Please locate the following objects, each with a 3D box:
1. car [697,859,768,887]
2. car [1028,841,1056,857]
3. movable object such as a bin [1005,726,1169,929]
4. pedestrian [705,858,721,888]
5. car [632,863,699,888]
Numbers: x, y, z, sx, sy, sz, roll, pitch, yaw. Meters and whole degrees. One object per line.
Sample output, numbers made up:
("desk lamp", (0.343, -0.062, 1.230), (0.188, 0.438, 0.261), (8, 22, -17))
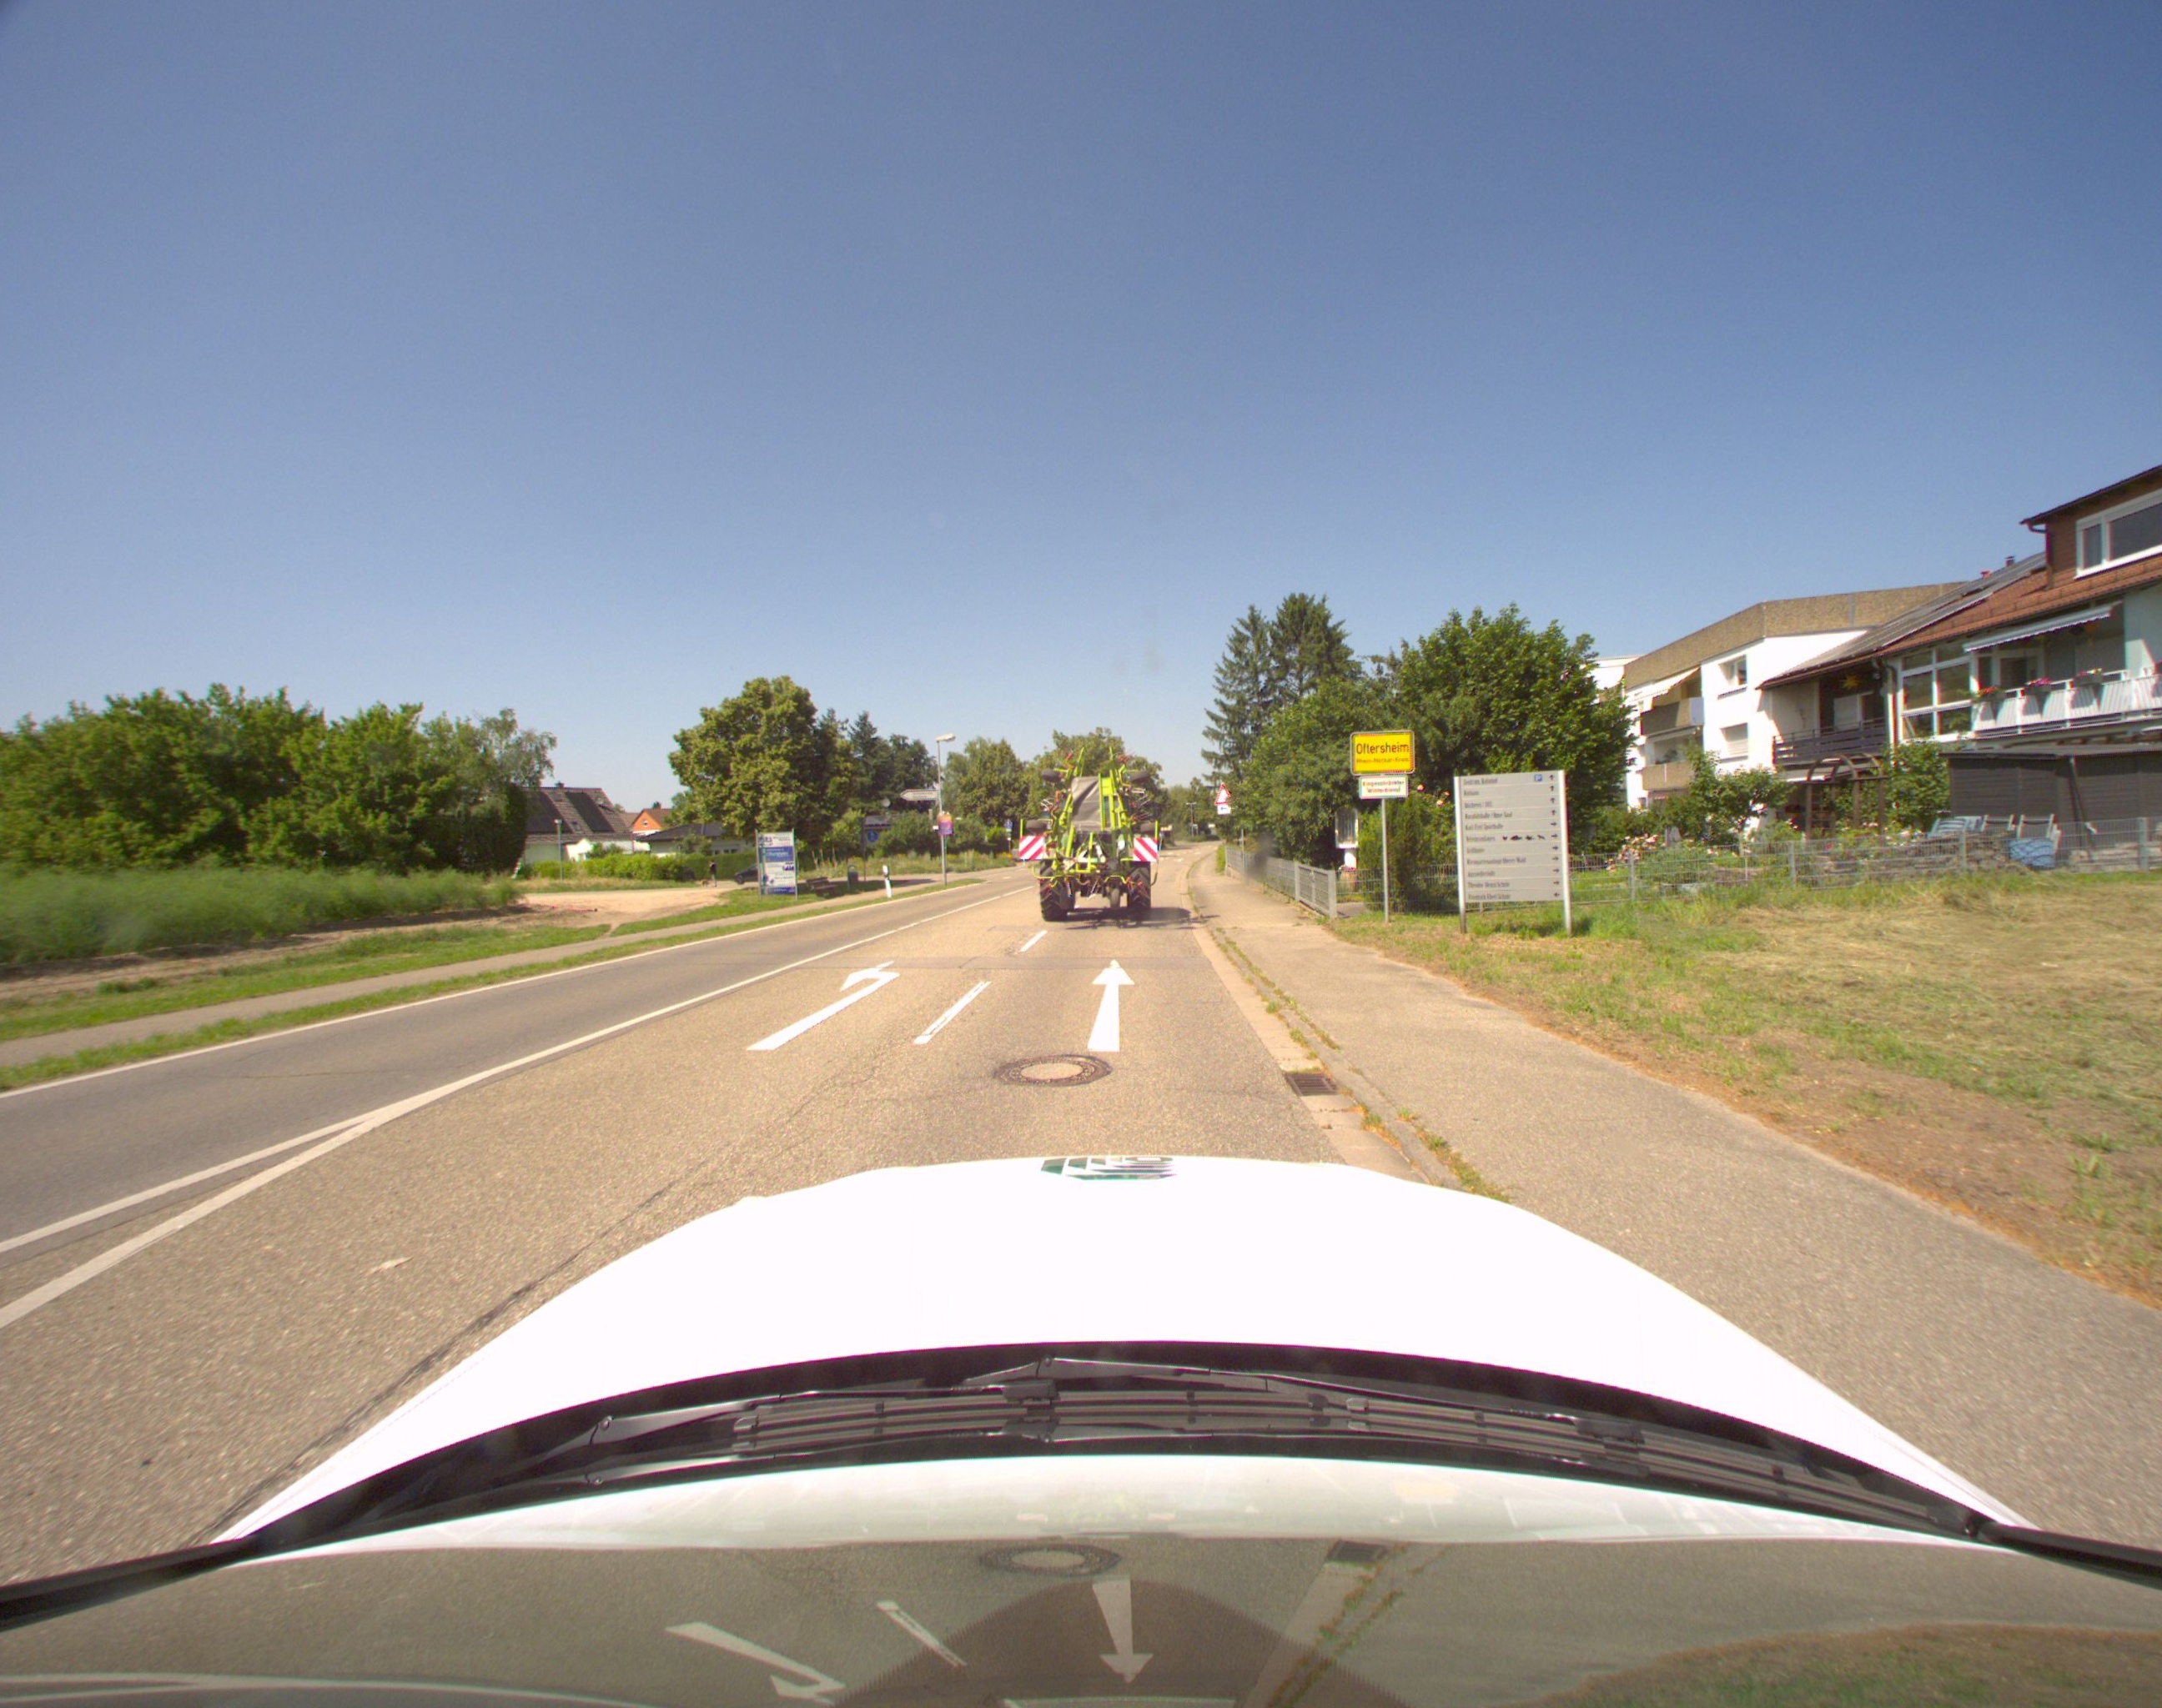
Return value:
("car", (-22.506, 1.216, 52.647), (4.048, 1.519, 2.012), (-3, 1, 27))
("car", (-3.945, -0.550, 82.924), (1.676, 1.530, 4.016), (-1, 1, 14))
("movable object such as a bin", (0.507, -0.547, 19.439), (2.839, 3.541, 9.714), (-2, 1, 5))
("pedestrian", (-21.520, 1.101, 47.628), (0.680, 1.716, 0.544), (-3, 1, -44))
("car", (-31.058, 1.629, 60.922), (3.967, 1.518, 1.885), (-3, 2, 6))
